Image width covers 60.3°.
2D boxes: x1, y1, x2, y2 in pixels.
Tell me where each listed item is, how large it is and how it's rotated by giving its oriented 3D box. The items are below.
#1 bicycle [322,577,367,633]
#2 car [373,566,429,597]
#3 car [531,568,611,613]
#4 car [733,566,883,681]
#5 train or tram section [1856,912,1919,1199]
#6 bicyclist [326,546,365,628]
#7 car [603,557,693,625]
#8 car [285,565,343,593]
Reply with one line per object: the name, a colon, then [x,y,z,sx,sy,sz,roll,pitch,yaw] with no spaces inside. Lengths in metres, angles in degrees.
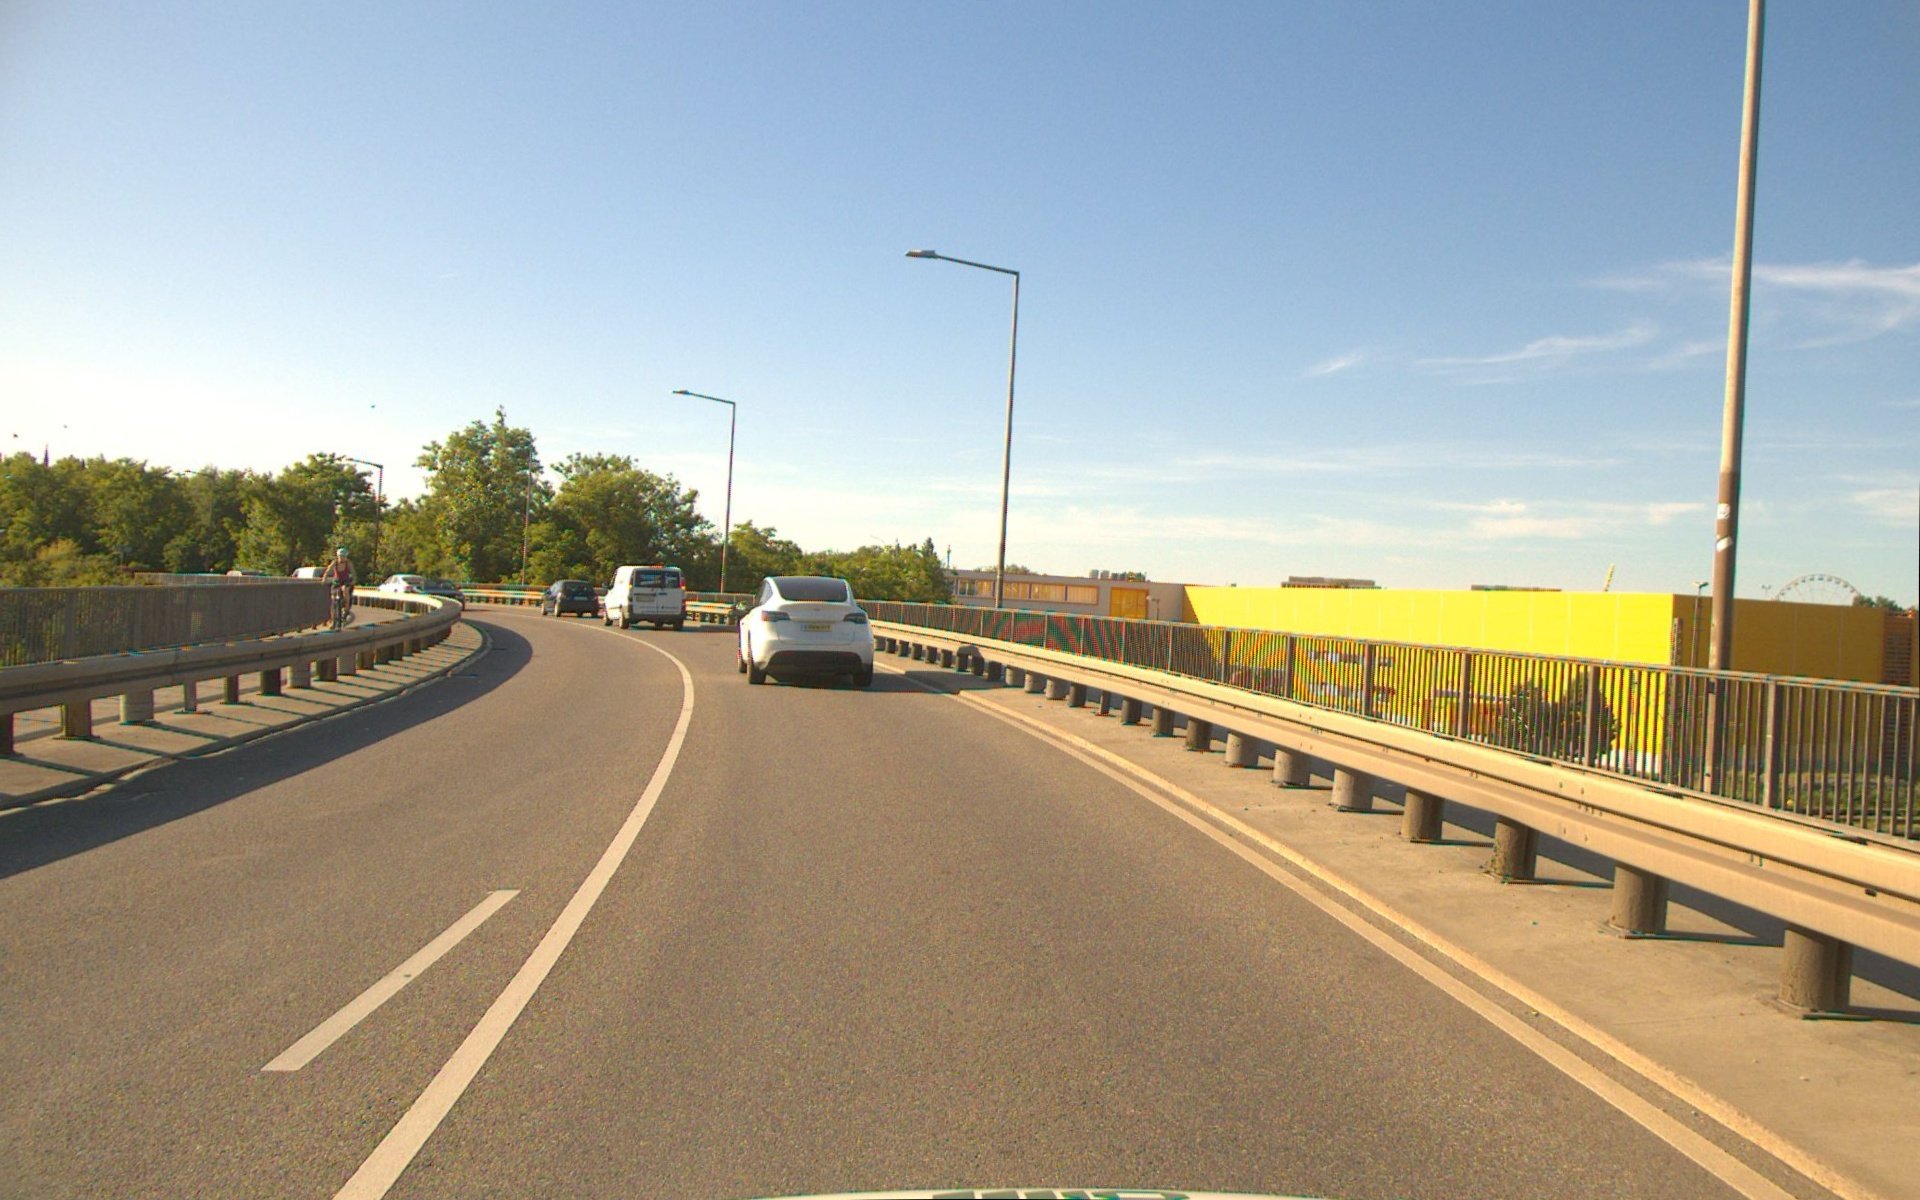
bicycle: [-12.375,0.092,33.294,0.643,1.083,1.882,1,1,-15]
car: [-29.697,-0.986,87.837,1.844,1.612,3.866,1,1,-35]
car: [-15.271,-0.375,64.774,1.949,1.666,3.958,0,0,-31]
car: [-2.482,0.333,26.152,1.950,1.666,4.051,0,0,-11]
train or tram section: [25.092,9.287,34.280,12.830,5.357,3.322,1,0,-16]
bicyclist: [-12.357,-0.255,33.249,0.643,1.617,0.765,1,0,-15]
car: [-9.676,-0.303,51.032,1.976,1.974,4.440,1,1,-21]
car: [-38.826,-1.282,99.437,3.827,1.583,1.829,2,1,44]
